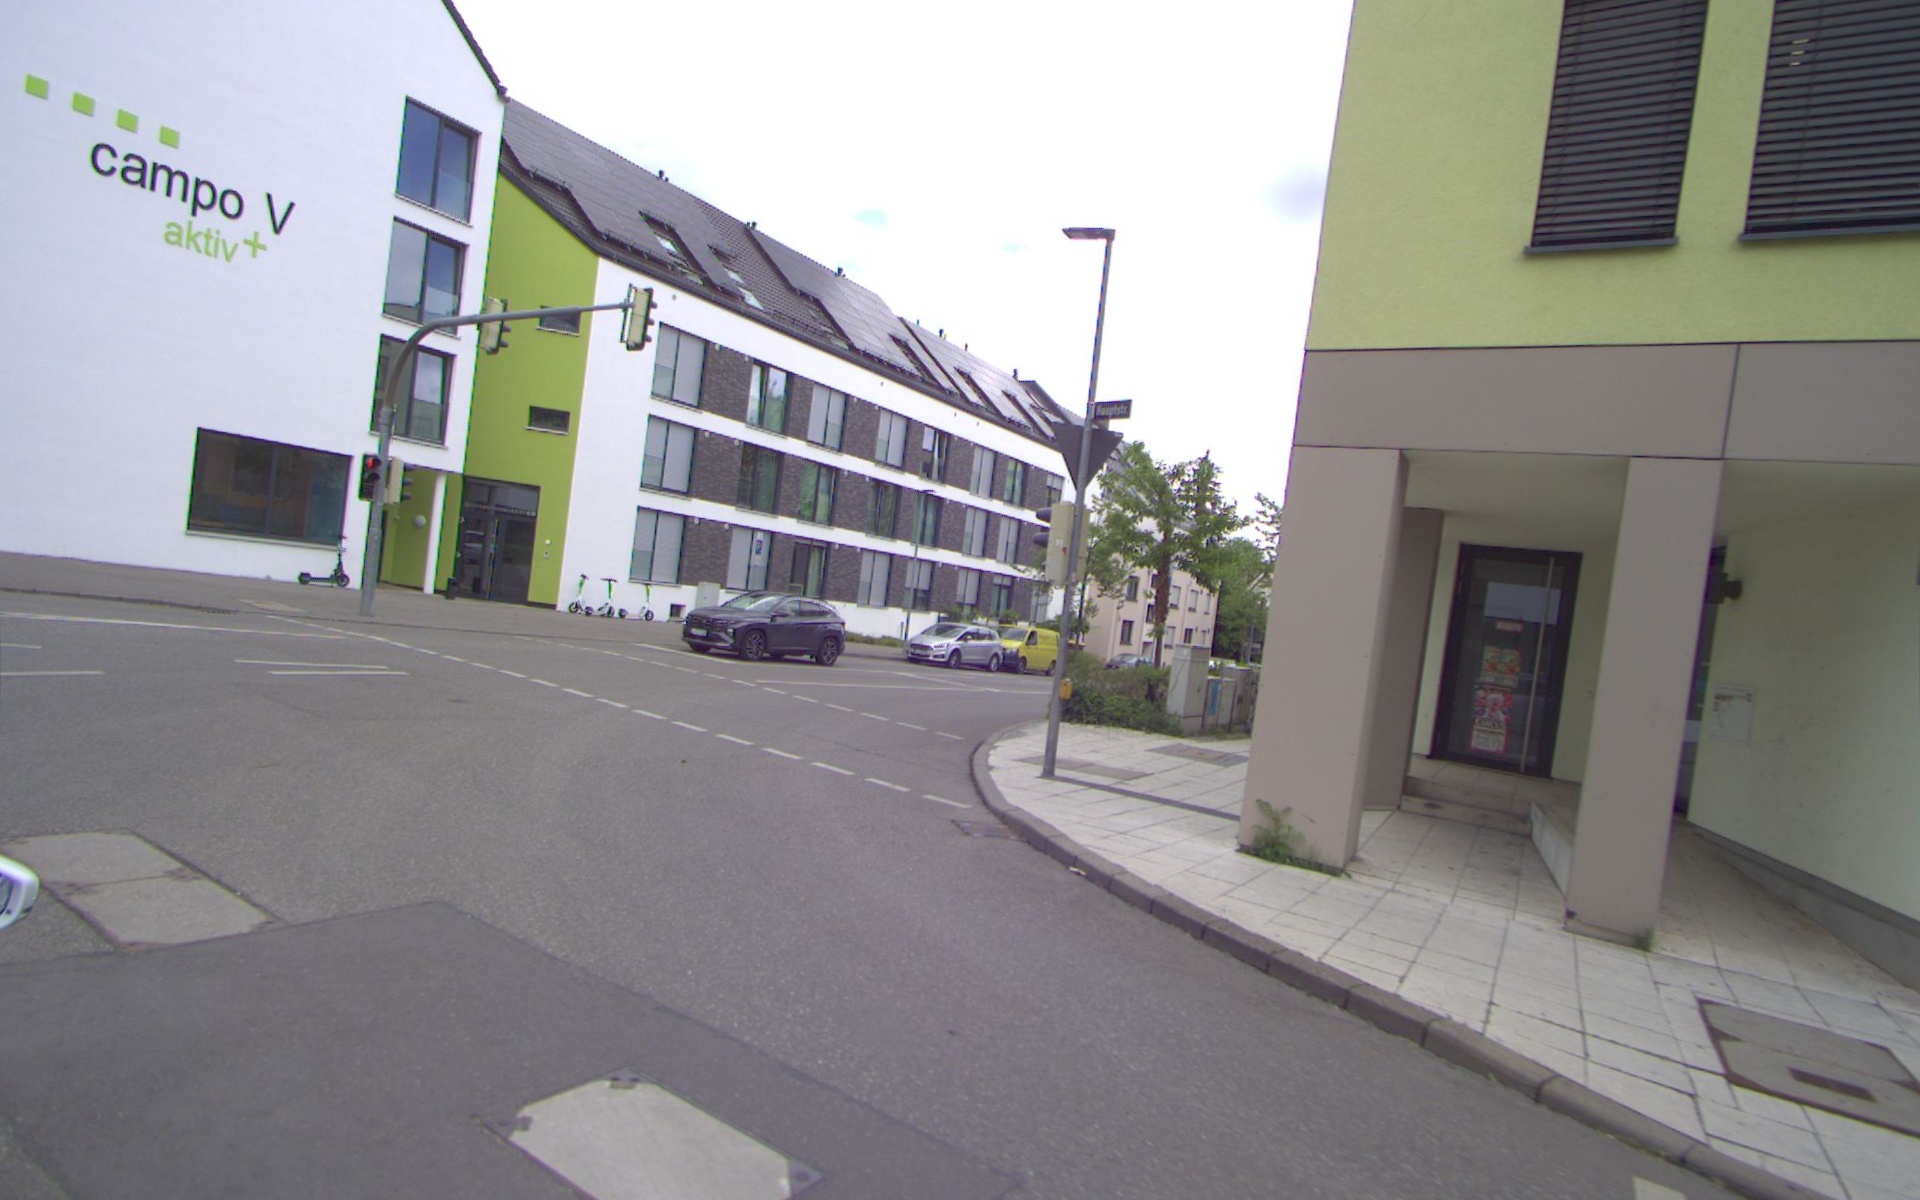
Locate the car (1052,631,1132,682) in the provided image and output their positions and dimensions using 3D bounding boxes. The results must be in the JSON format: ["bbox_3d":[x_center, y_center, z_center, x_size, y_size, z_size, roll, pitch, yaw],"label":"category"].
[{"bbox_3d":[6.083,2.615,45.982,1.778,1.815,4.418,8,-2,32],"label":"car"}]

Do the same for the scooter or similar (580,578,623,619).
[{"bbox_3d":[-10.588,-0.026,29.774,0.357,1.091,1.233,8,-1,21],"label":"scooter or similar"}]

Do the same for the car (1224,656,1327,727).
[{"bbox_3d":[9.602,2.790,30.355,1.936,1.679,4.421,8,-2,29],"label":"car"}]

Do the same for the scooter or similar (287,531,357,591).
[{"bbox_3d":[-15.307,-0.930,24.156,0.400,1.249,1.232,8,-1,33],"label":"scooter or similar"}]

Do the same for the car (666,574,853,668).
[{"bbox_3d":[-4.664,0.558,23.983,1.920,1.678,4.096,8,-2,32],"label":"car"}]

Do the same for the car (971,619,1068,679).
[{"bbox_3d":[2.500,2.061,41.214,1.778,1.946,4.626,8,-2,32],"label":"car"}]

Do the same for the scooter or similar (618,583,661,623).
[{"bbox_3d":[-10.033,0.096,31.488,0.358,1.092,1.175,8,-1,36],"label":"scooter or similar"}]

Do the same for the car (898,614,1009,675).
[{"bbox_3d":[-0.161,1.653,36.366,1.778,1.649,4.418,8,-2,32],"label":"car"}]

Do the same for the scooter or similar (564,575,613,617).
[{"bbox_3d":[-11.175,-0.103,30.279,0.358,1.092,1.228,8,-1,39],"label":"scooter or similar"}]
